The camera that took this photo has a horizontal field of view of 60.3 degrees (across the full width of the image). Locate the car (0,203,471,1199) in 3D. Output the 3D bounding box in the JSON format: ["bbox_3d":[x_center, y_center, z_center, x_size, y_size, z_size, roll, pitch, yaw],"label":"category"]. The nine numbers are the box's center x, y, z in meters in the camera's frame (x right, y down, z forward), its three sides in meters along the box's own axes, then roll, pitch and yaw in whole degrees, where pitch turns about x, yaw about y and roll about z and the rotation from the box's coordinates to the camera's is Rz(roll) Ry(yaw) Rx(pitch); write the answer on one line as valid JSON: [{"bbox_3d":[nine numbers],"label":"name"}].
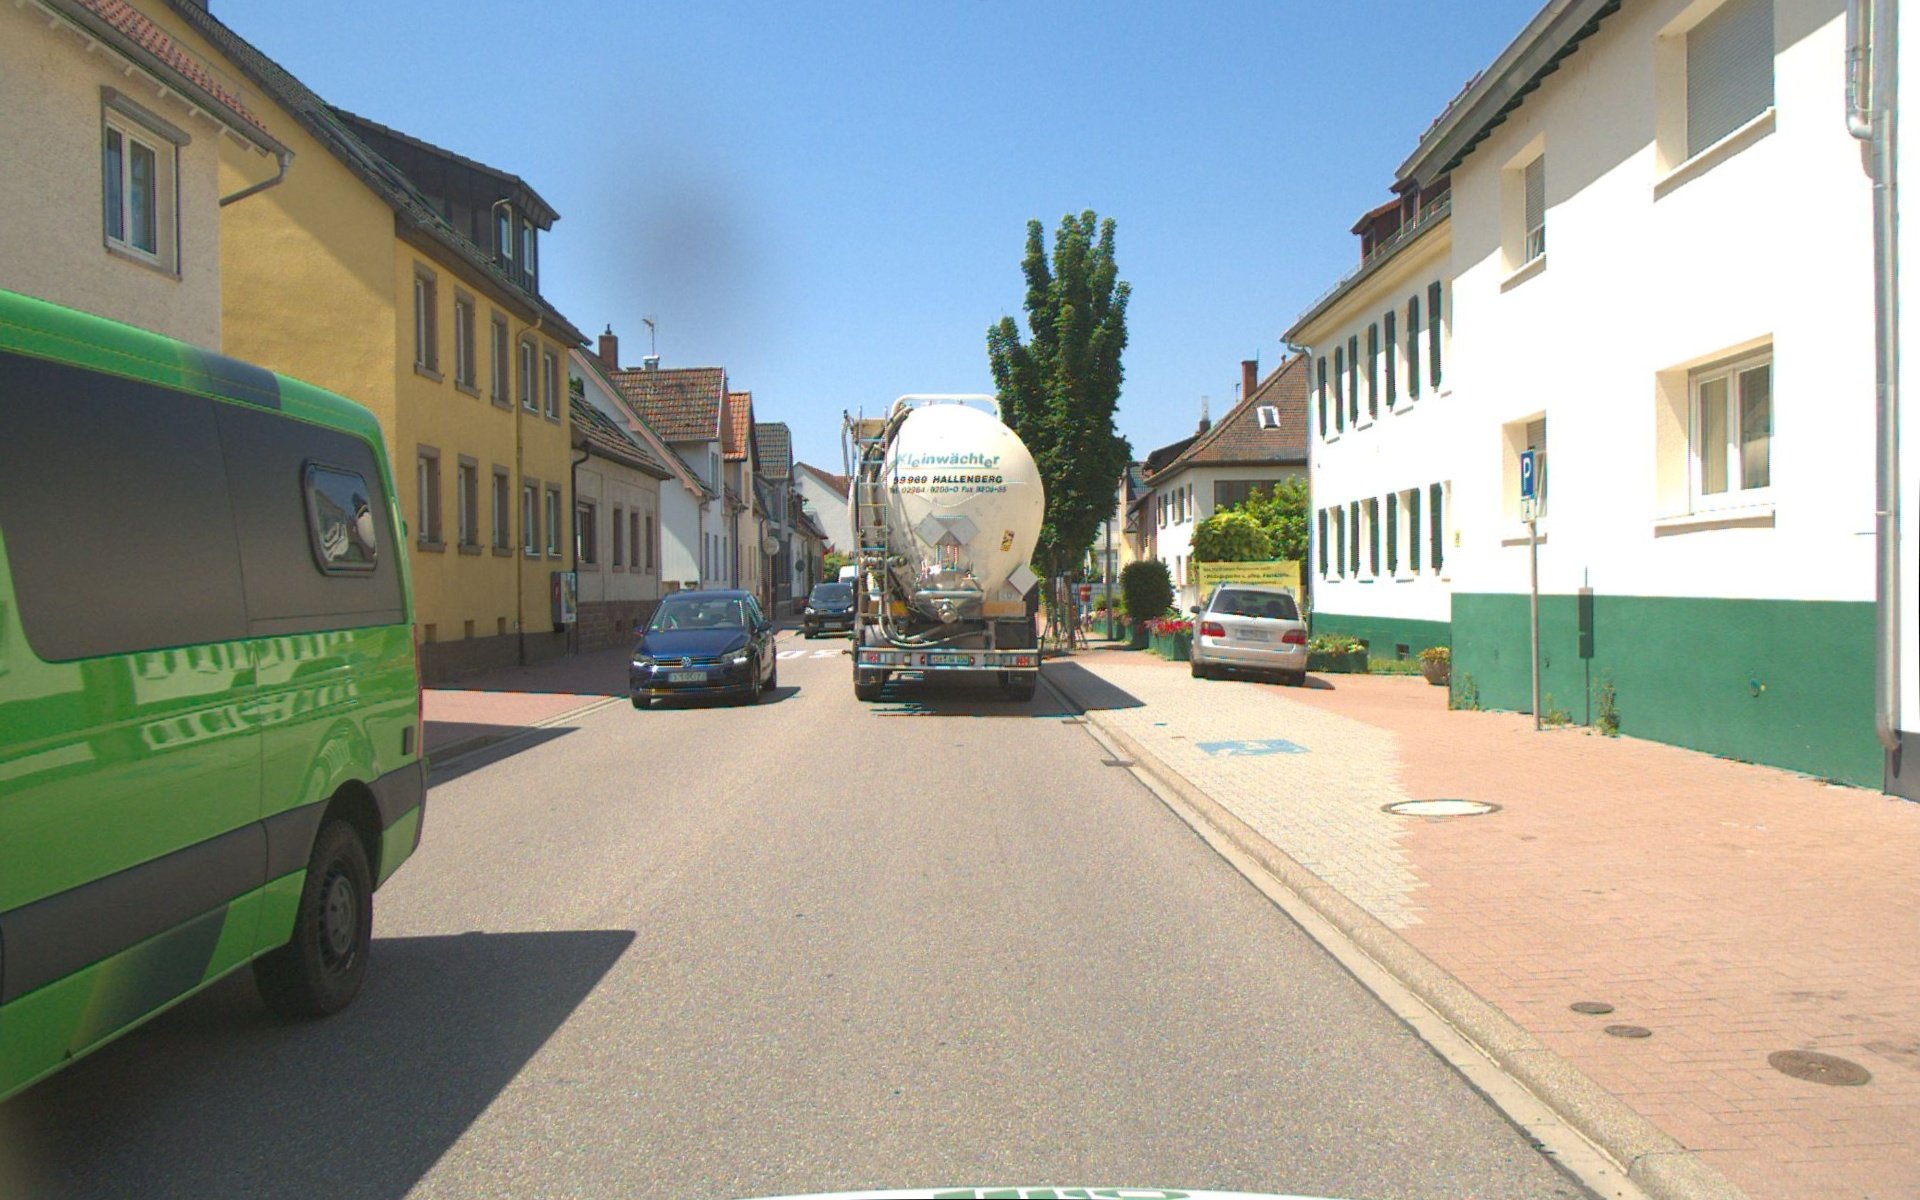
[{"bbox_3d":[-3.187,0.312,4.431,2.009,2.395,6.080,-2,0,-1],"label":"car"}]

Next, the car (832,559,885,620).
[{"bbox_3d":[-4.377,-0.470,72.162,2.027,2.498,6.006,-2,0,-2],"label":"car"}]

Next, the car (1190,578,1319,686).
[{"bbox_3d":[4.726,0.446,27.101,1.777,1.488,4.889,4,1,7],"label":"car"}]

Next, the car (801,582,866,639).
[{"bbox_3d":[-4.030,0.292,53.108,1.802,1.699,4.322,-2,0,-1],"label":"car"}]

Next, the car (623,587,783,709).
[{"bbox_3d":[-3.643,0.631,24.079,1.729,1.563,4.077,-2,0,-1],"label":"car"}]

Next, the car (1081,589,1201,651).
[{"bbox_3d":[6.731,0.745,61.825,4.089,1.613,1.907,10,0,0],"label":"car"}]

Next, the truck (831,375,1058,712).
[{"bbox_3d":[-0.318,-0.663,24.035,2.677,4.029,8.138,1,0,-2],"label":"truck"}]
